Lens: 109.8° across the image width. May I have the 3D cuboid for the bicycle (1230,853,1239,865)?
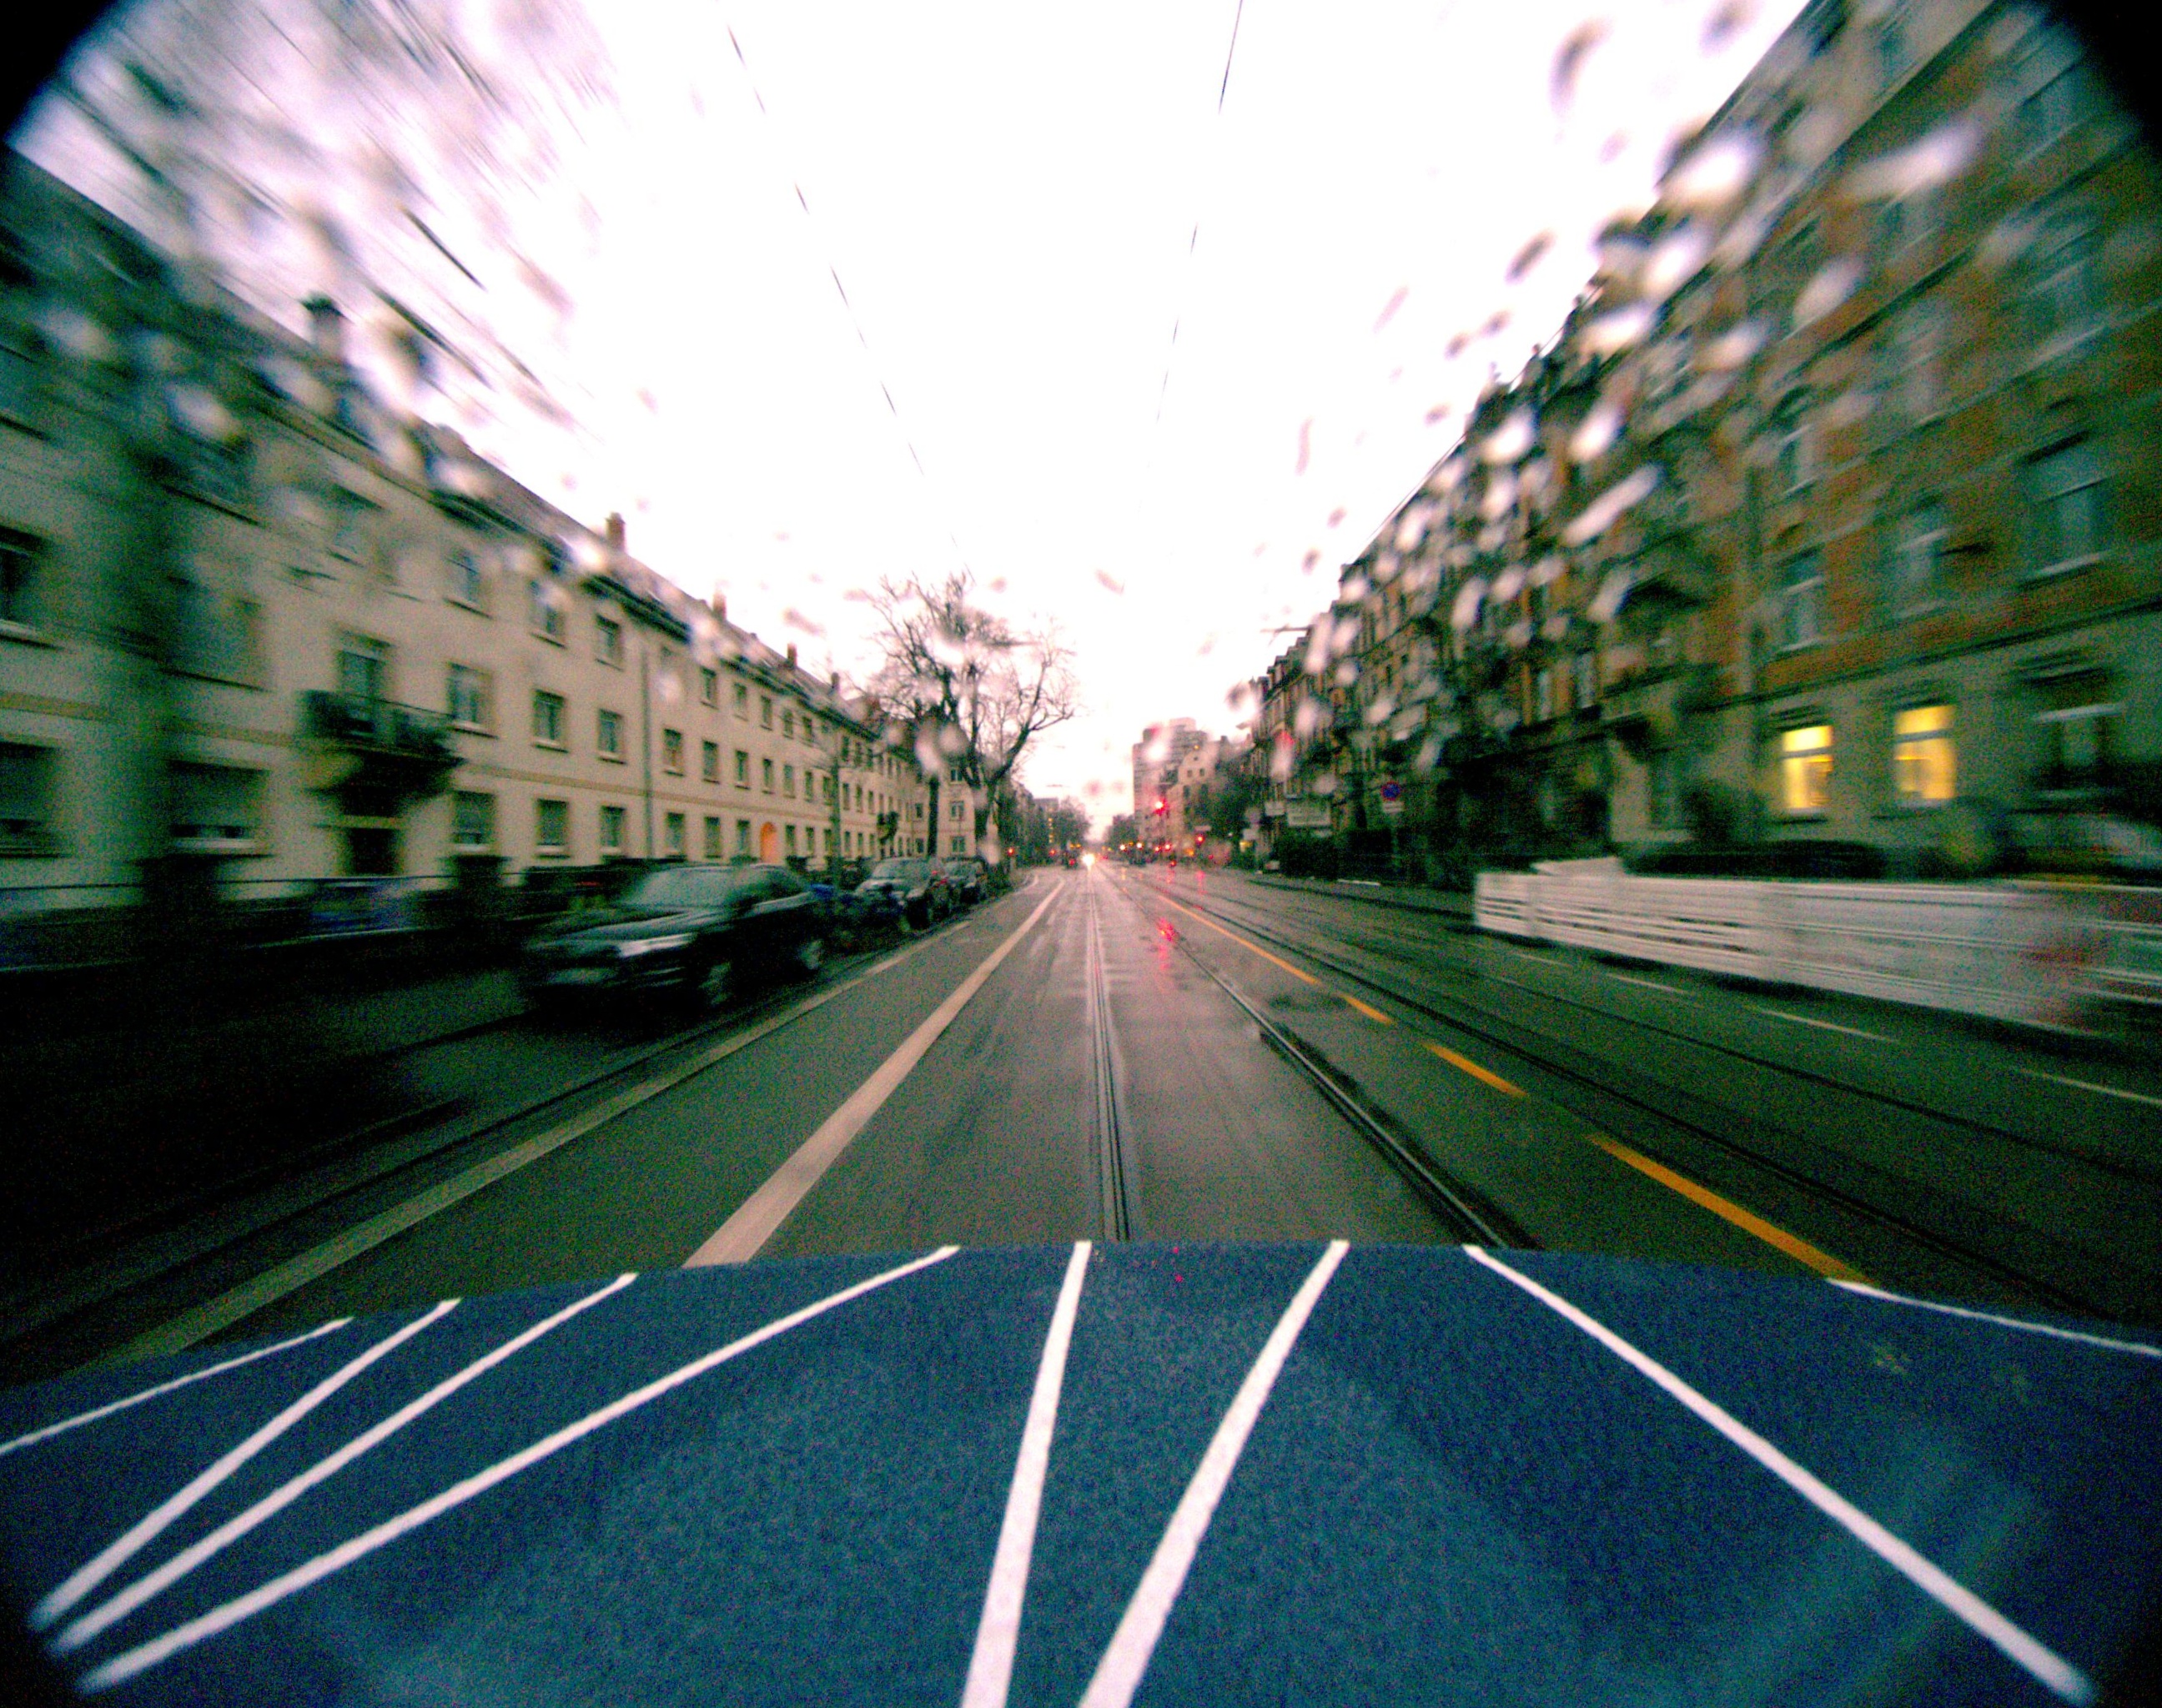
[{"bbox_3d":[13.192,0.406,65.418,0.417,1.001,1.849,-1,0,2],"label":"bicycle"}]

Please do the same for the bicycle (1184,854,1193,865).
[{"bbox_3d":[10.090,0.550,71.303,0.683,1.001,1.803,-1,0,2],"label":"bicycle"}]

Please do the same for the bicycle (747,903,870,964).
[{"bbox_3d":[-4.818,1.396,13.454,2.017,0.911,0.465,3,1,6],"label":"bicycle"}]

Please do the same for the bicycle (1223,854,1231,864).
[{"bbox_3d":[13.509,0.451,70.244,0.400,0.857,1.849,-1,0,2],"label":"bicycle"}]

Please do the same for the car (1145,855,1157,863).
[{"bbox_3d":[13.929,1.032,151.649,1.677,1.507,3.677,-4,0,-5],"label":"car"}]

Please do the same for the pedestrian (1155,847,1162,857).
[{"bbox_3d":[14.681,-0.372,143.878,0.796,1.867,0.896,-3,1,37],"label":"pedestrian"}]

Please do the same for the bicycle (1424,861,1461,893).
[{"bbox_3d":[11.084,0.677,23.336,0.264,0.910,1.685,-7,0,1],"label":"bicycle"}]

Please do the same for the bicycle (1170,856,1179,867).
[{"bbox_3d":[8.939,0.721,72.738,0.680,0.966,1.933,-1,0,2],"label":"bicycle"}]

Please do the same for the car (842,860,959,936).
[{"bbox_3d":[-4.646,1.058,20.359,1.910,1.717,4.902,-1,0,0],"label":"car"}]

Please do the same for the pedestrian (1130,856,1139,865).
[{"bbox_3d":[7.760,0.907,110.206,1.058,1.247,0.506,-4,1,0],"label":"pedestrian"}]

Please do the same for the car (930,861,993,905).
[{"bbox_3d":[-4.576,1.067,29.543,1.790,1.501,3.987,-1,0,0],"label":"car"}]

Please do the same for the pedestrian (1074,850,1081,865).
[{"bbox_3d":[-0.461,0.402,97.224,0.689,1.906,0.717,-2,1,-16],"label":"pedestrian"}]

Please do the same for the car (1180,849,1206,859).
[{"bbox_3d":[18.754,0.042,127.222,4.337,1.574,1.938,-2,1,9],"label":"car"}]

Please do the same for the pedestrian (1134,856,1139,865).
[{"bbox_3d":[8.039,0.899,109.541,0.654,1.211,0.517,-4,1,0],"label":"pedestrian"}]

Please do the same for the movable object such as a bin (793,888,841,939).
[{"bbox_3d":[-5.453,1.224,15.745,0.753,0.948,0.569,4,0,-5],"label":"movable object such as a bin"}]

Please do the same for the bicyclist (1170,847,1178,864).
[{"bbox_3d":[8.904,0.133,72.769,0.685,1.606,0.765,-1,1,2],"label":"bicyclist"}]

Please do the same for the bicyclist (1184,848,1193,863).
[{"bbox_3d":[10.068,0.113,71.237,0.706,1.356,0.944,-3,1,2],"label":"bicyclist"}]

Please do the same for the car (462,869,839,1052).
[{"bbox_3d":[-4.770,1.049,9.406,1.910,1.601,4.561,-1,0,2],"label":"car"}]

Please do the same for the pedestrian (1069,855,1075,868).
[{"bbox_3d":[-1.207,0.966,99.574,0.659,1.698,0.571,-4,1,1],"label":"pedestrian"}]
